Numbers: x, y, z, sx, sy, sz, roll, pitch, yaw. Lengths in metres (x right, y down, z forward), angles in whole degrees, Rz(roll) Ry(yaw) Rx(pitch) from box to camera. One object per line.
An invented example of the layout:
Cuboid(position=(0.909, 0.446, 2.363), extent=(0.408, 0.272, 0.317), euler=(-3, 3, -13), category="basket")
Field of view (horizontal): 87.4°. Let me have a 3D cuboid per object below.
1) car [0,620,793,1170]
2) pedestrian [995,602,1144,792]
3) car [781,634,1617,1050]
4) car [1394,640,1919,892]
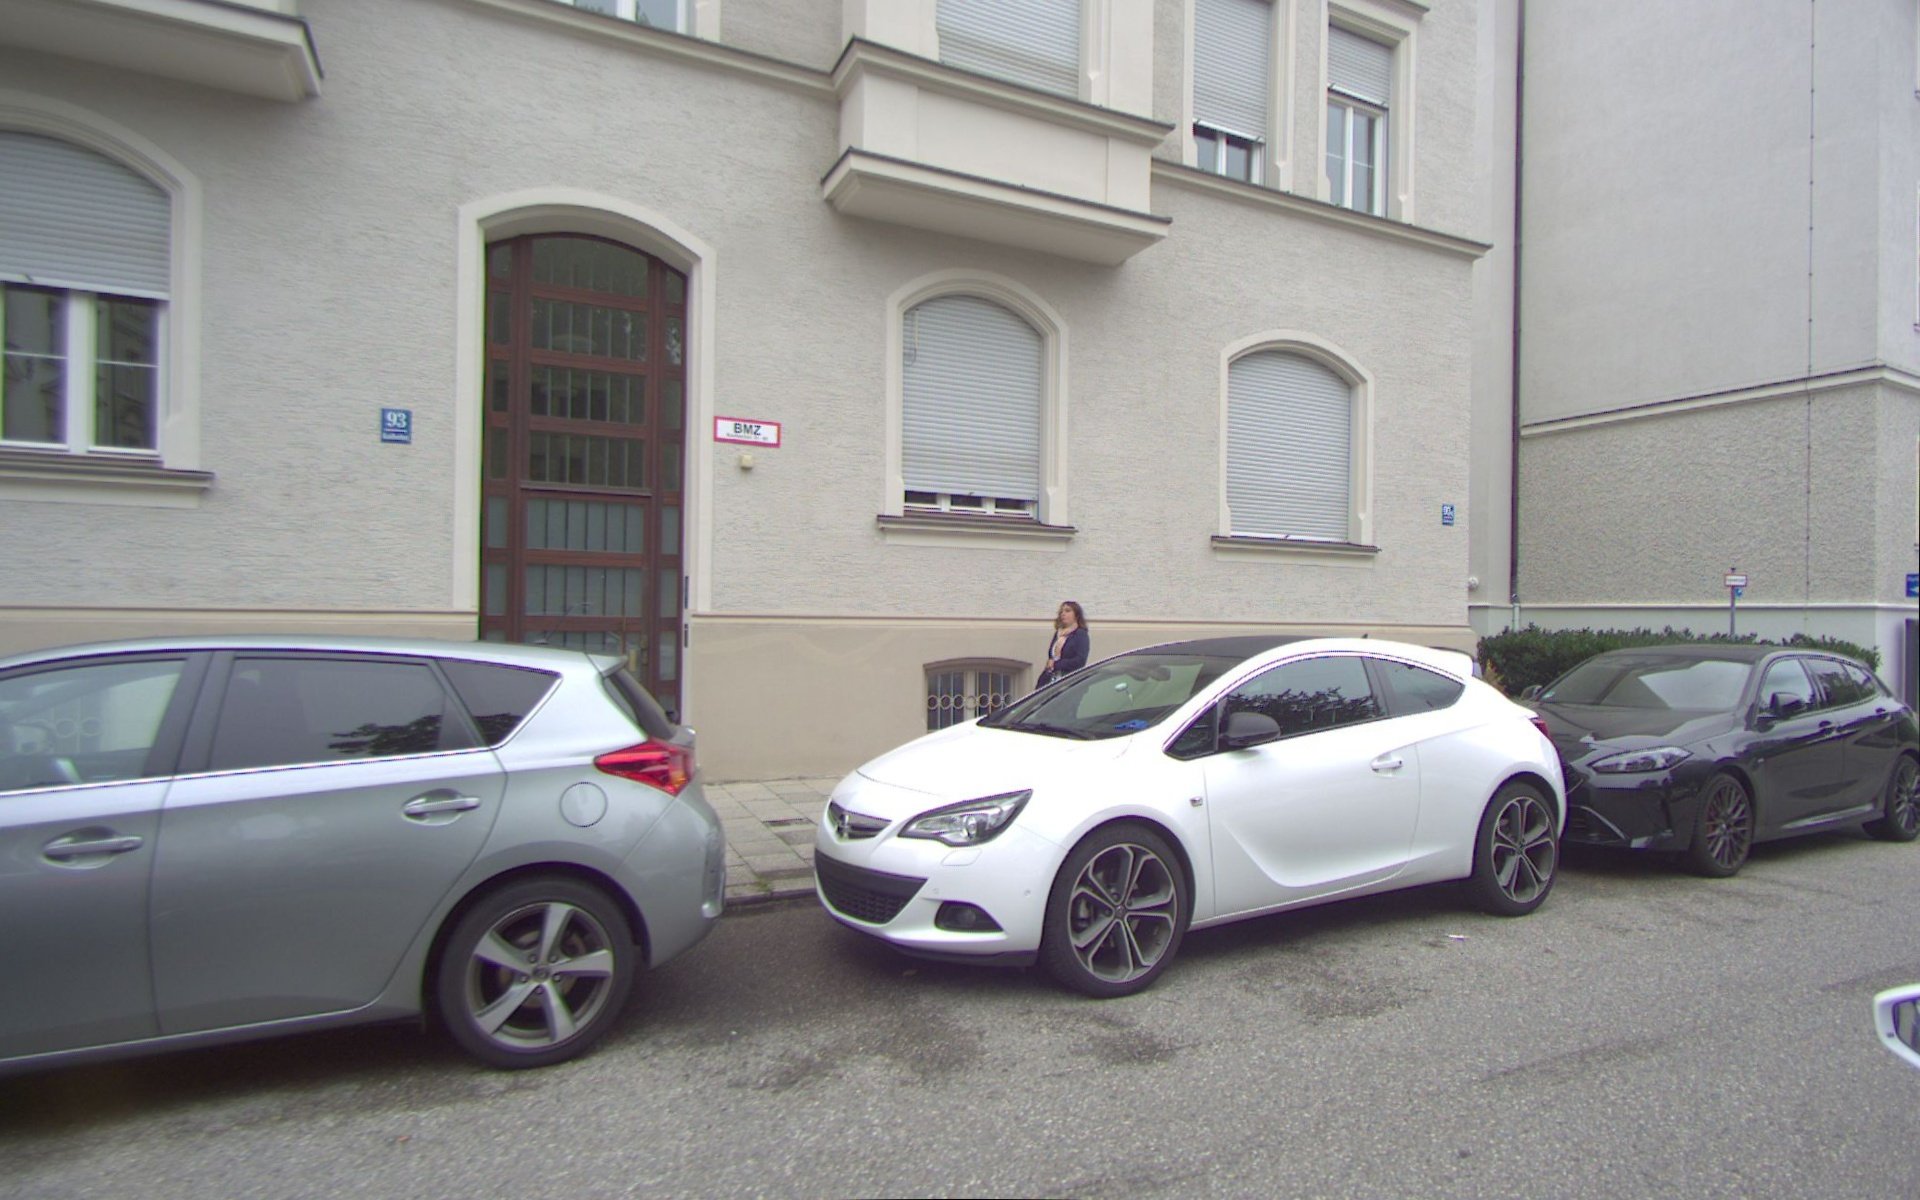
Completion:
Cuboid(position=(-2.748, 0.824, 3.652), extent=(3.885, 1.483, 1.800), euler=(1, -2, -26), category="car")
Cuboid(position=(0.998, 0.848, 9.246), extent=(1.038, 1.629, 0.871), euler=(1, 0, -27), category="pedestrian")
Cuboid(position=(1.395, 0.946, 5.485), extent=(4.324, 1.483, 1.849), euler=(1, -2, -28), category="car")
Cuboid(position=(5.548, 1.040, 7.669), extent=(4.324, 1.431, 1.849), euler=(1, -2, -28), category="car")
